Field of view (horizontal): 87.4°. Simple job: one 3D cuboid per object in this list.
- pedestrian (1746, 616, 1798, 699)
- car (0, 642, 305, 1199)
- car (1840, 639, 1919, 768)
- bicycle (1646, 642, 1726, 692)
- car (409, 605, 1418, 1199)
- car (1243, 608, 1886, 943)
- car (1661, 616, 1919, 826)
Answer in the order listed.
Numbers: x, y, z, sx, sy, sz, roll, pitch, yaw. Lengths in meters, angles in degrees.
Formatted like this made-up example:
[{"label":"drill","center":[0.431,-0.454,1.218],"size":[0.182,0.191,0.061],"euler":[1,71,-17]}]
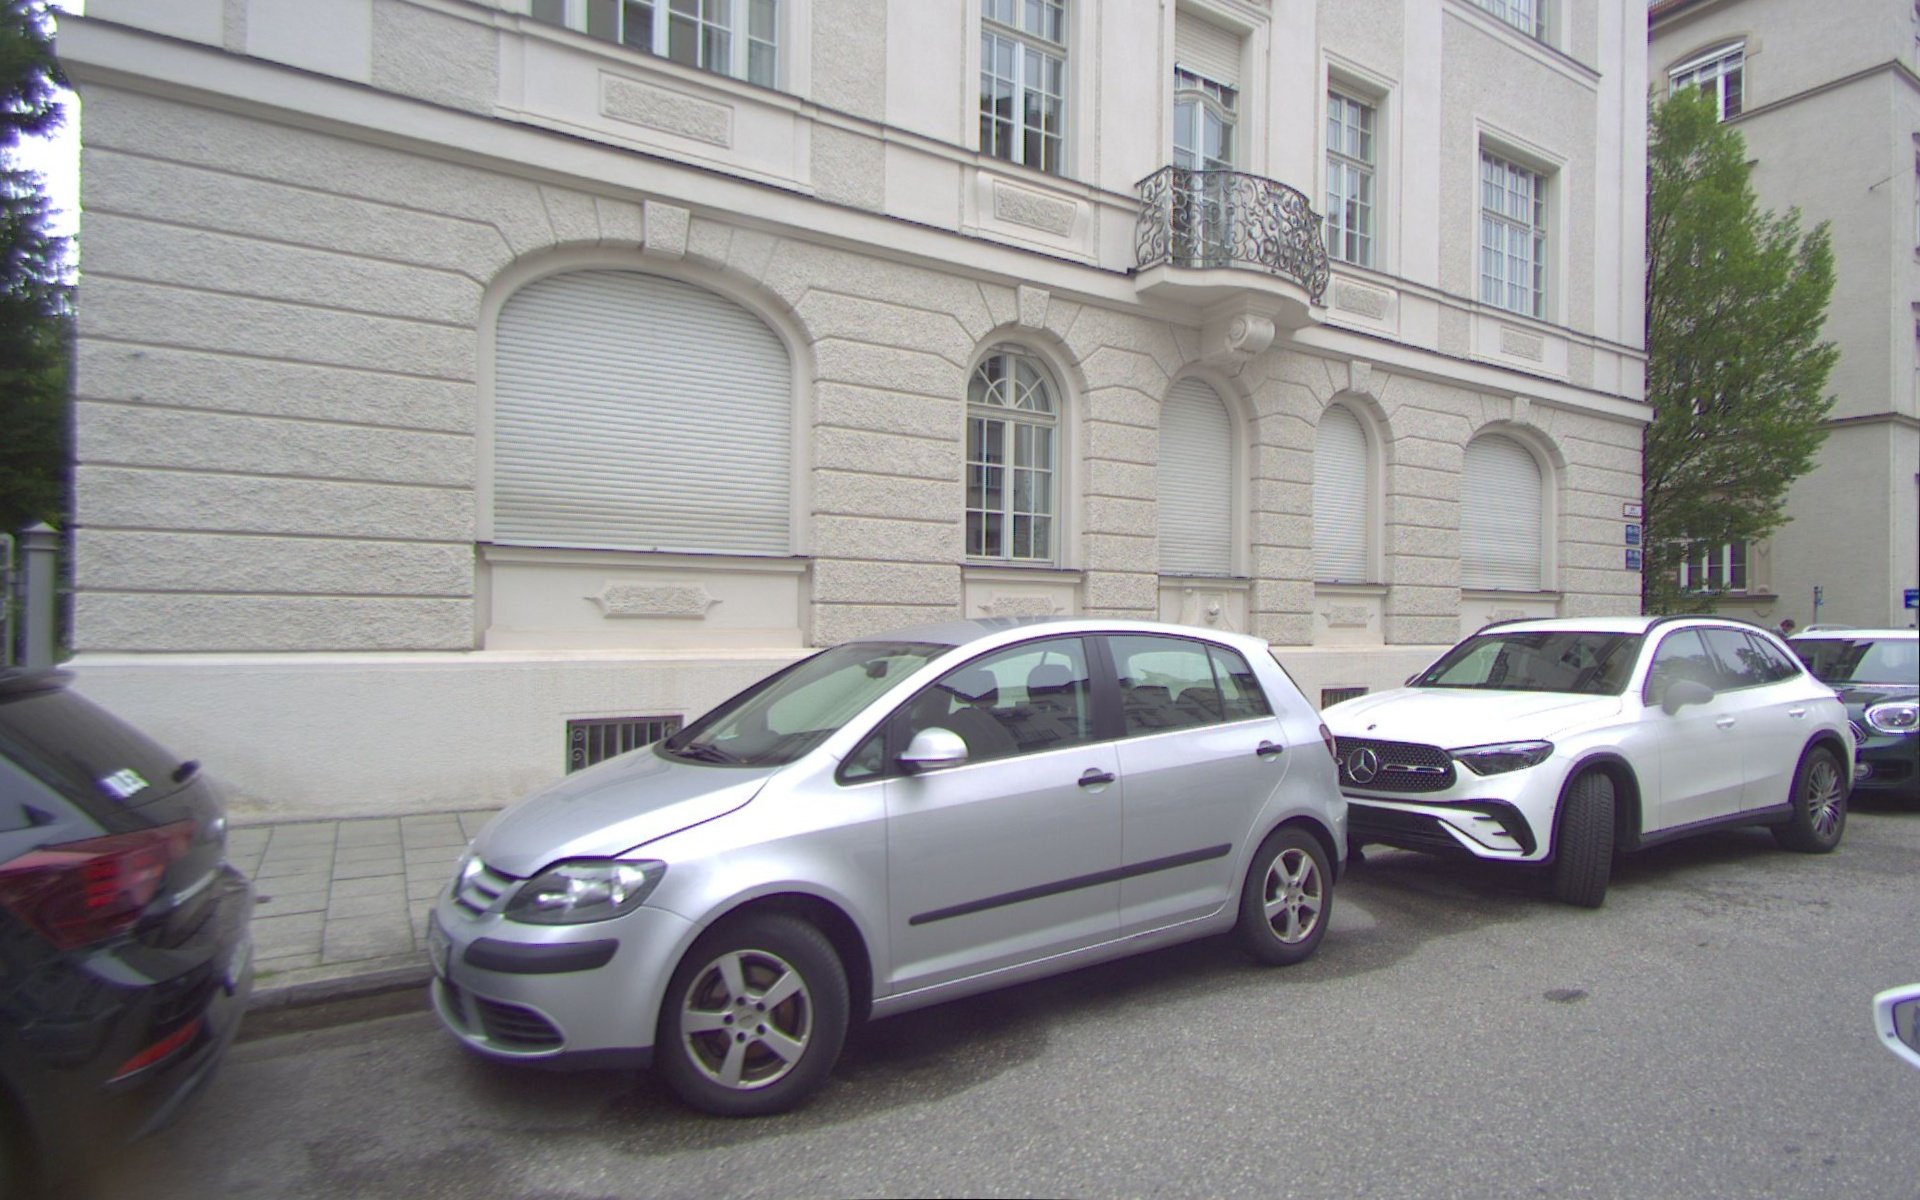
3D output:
[{"label":"pedestrian","center":[16.463,1.149,20.373],"size":[0.624,1.648,0.669],"euler":[1,-1,-34]},{"label":"car","center":[-3.905,0.814,2.022],"size":[4.230,1.433,1.784],"euler":[1,-3,-31]},{"label":"car","center":[12.858,1.225,12.439],"size":[4.318,1.431,1.777],"euler":[1,-1,-32]},{"label":"bicycle","center":[16.660,1.516,23.031],"size":[1.984,0.973,0.691],"euler":[-2,4,-29]},{"label":"car","center":[0.023,0.881,4.497],"size":[4.214,1.561,1.772],"euler":[2,-3,-35]},{"label":"car","center":[4.269,0.895,6.918],"size":[4.518,1.640,1.906],"euler":[1,-1,-31]},{"label":"car","center":[8.857,0.991,9.800],"size":[4.197,1.640,1.827],"euler":[1,-1,-32]}]
